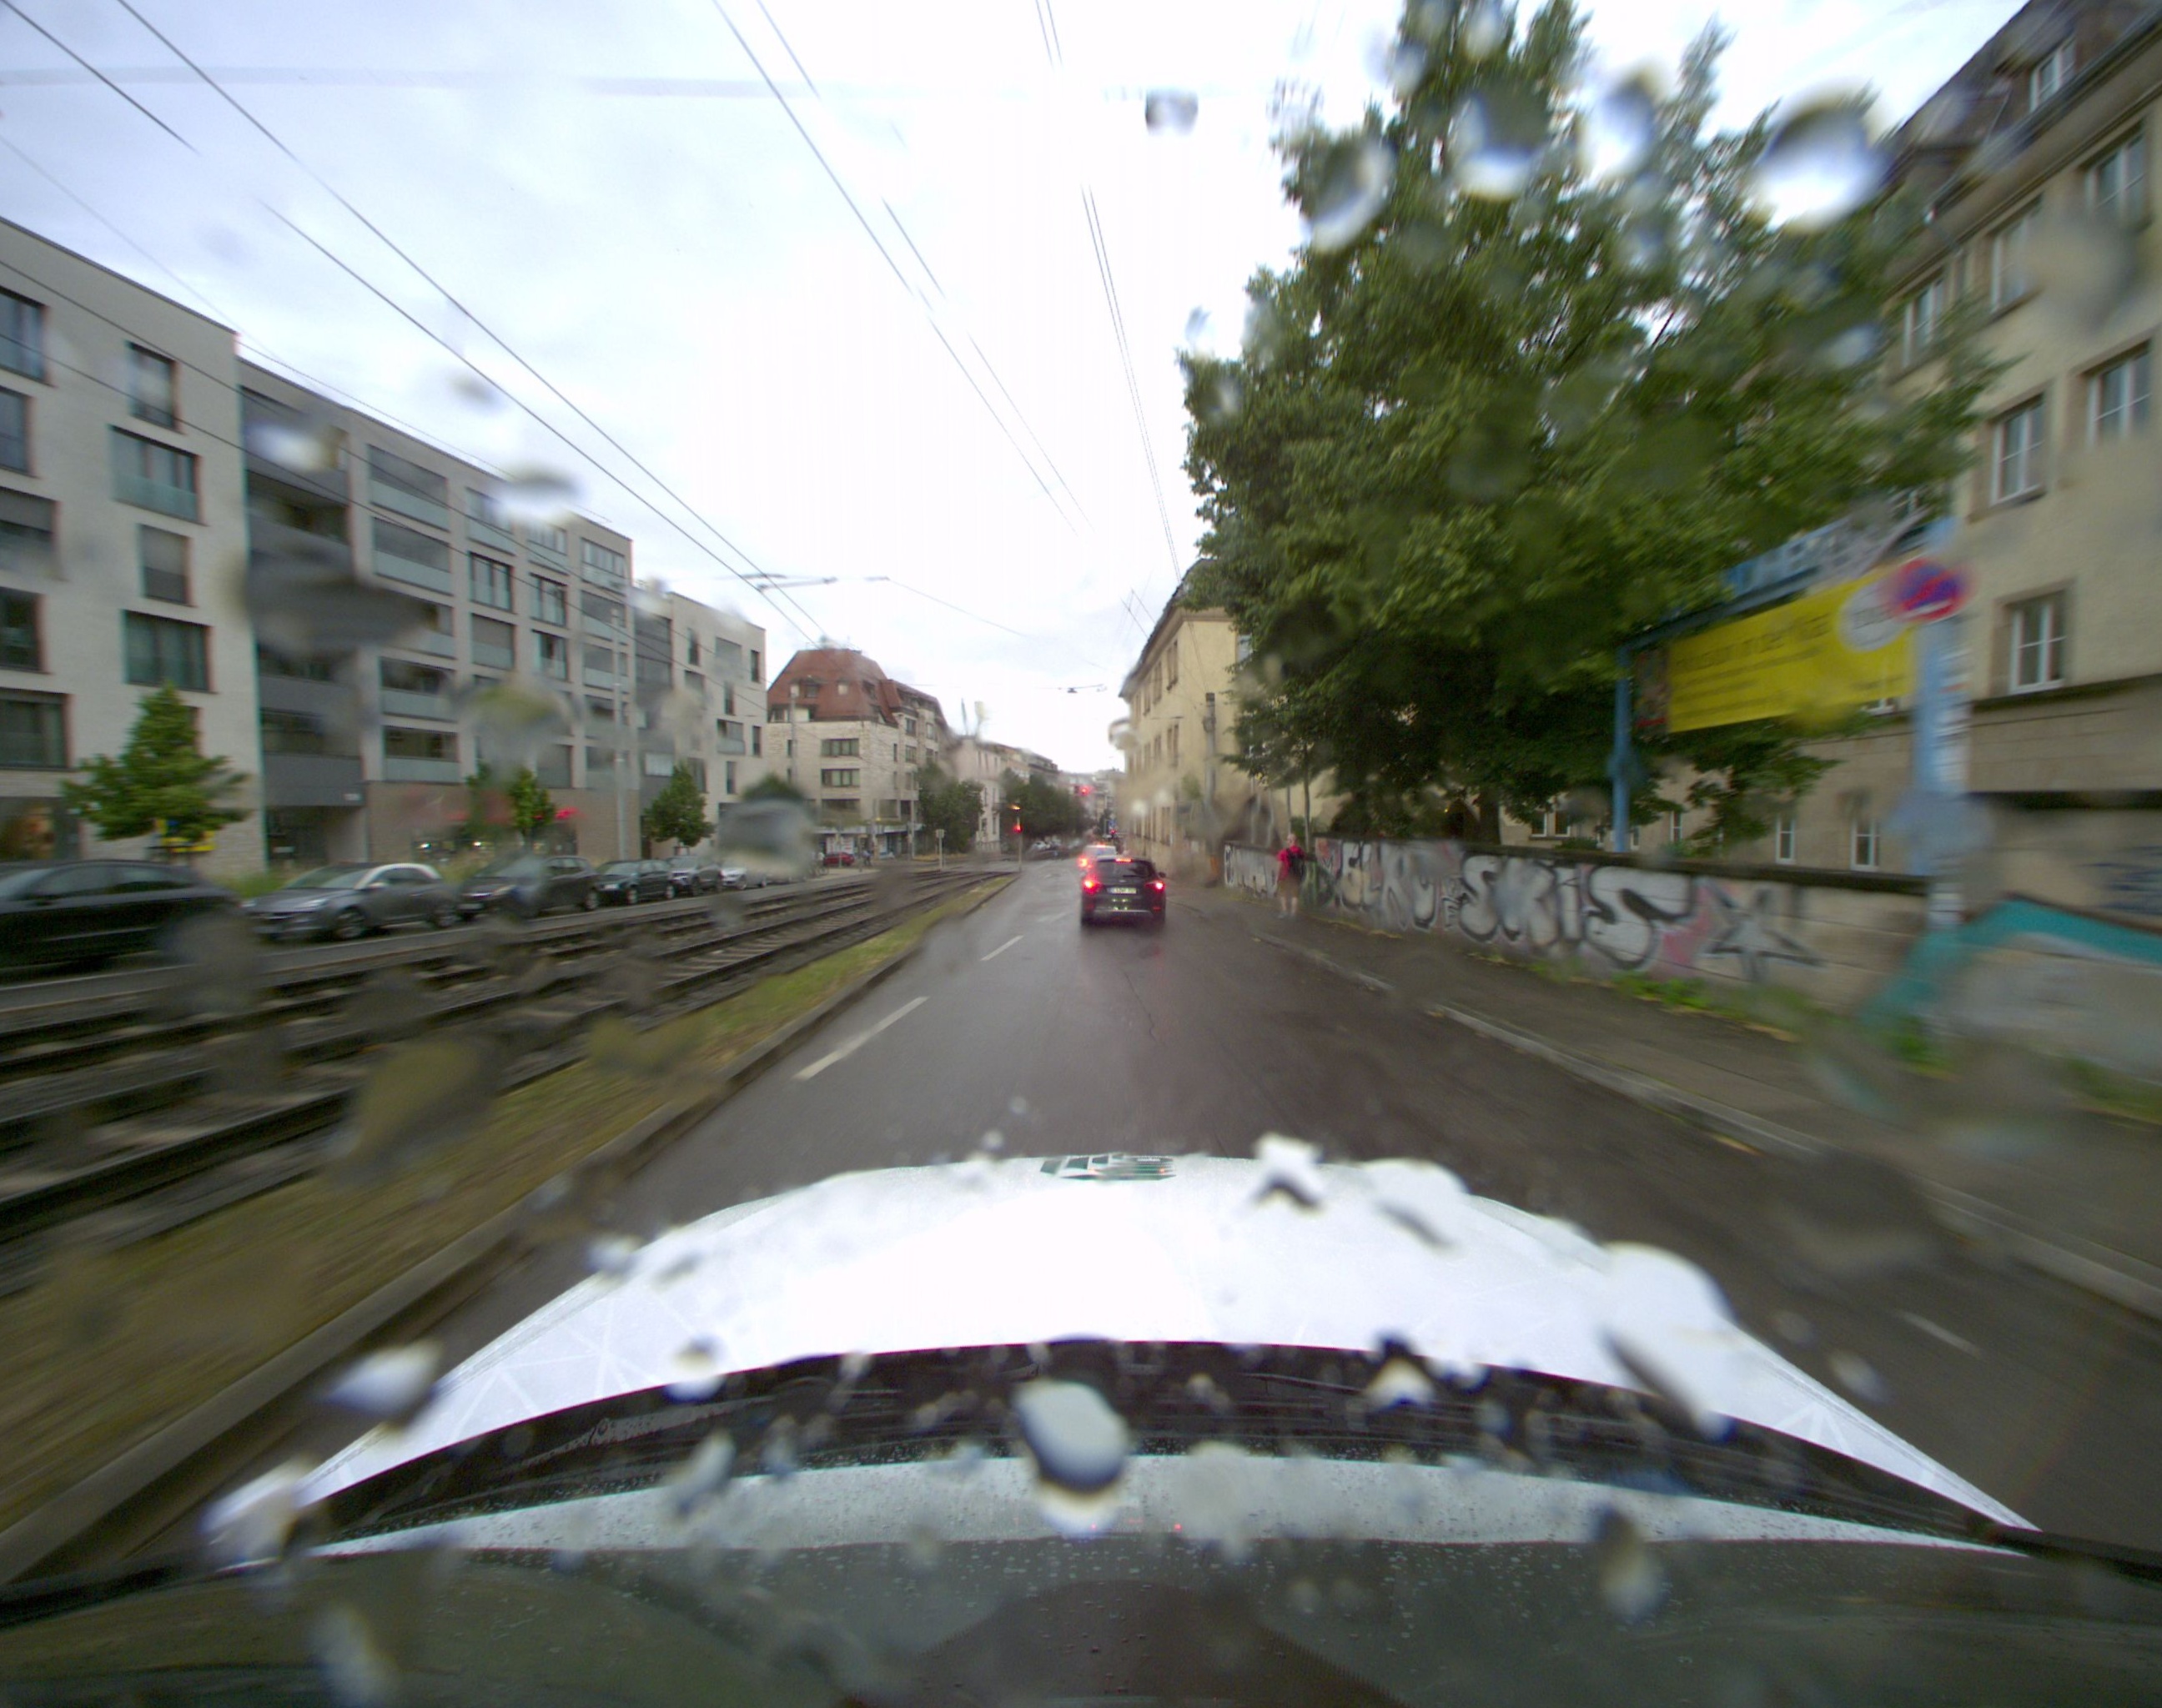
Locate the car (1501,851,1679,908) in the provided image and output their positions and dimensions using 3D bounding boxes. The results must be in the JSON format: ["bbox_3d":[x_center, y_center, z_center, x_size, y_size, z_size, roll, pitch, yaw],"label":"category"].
[{"bbox_3d":[15.884,0.791,25.618,4.427,1.588,1.799,-1,2,6],"label":"car"}]

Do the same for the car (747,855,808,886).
[{"bbox_3d":[-15.906,0.829,42.916,1.908,1.504,4.230,-1,0,-5],"label":"car"}]

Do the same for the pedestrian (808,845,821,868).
[{"bbox_3d":[-23.387,0.242,71.506,0.940,2.013,0.763,0,0,-6],"label":"pedestrian"}]

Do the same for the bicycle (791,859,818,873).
[{"bbox_3d":[-18.323,0.791,53.977,1.651,0.866,0.567,1,0,-12],"label":"bicycle"}]

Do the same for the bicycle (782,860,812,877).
[{"bbox_3d":[-18.554,0.943,53.210,1.799,1.064,0.566,1,0,-14],"label":"bicycle"}]

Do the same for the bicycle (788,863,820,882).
[{"bbox_3d":[-16.759,1.112,49.324,1.800,1.064,0.455,-1,1,-16],"label":"bicycle"}]

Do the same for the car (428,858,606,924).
[{"bbox_3d":[-14.663,0.879,21.525,1.714,1.513,4.317,-1,0,-1],"label":"car"}]

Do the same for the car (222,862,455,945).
[{"bbox_3d":[-14.738,0.907,16.446,1.544,1.435,3.450,-1,0,-1],"label":"car"}]

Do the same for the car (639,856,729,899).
[{"bbox_3d":[-15.233,0.841,31.482,1.769,1.504,3.915,-1,0,-5],"label":"car"}]

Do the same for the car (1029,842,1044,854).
[{"bbox_3d":[-7.573,-1.006,138.570,1.985,2.013,4.004,0,0,3],"label":"car"}]

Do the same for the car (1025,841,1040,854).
[{"bbox_3d":[-7.849,-1.013,132.265,1.985,2.013,4.004,0,0,3],"label":"car"}]

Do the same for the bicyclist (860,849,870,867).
[{"bbox_3d":[-18.503,0.350,69.711,0.705,1.574,0.457,0,0,-37],"label":"bicyclist"}]

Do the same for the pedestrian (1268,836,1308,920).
[{"bbox_3d":[4.370,0.491,17.214,0.630,1.721,0.711,-1,0,-1],"label":"pedestrian"}]

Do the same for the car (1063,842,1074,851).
[{"bbox_3d":[-2.624,-1.562,168.907,1.985,1.662,4.004,0,0,3],"label":"car"}]

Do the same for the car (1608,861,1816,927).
[{"bbox_3d":[15.901,0.984,20.670,3.917,1.497,1.632,0,3,3],"label":"car"}]

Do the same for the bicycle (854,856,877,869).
[{"bbox_3d":[-18.436,0.753,69.765,1.811,1.064,0.452,-2,1,-37],"label":"bicycle"}]

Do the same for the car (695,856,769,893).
[{"bbox_3d":[-15.388,0.846,36.141,1.769,1.504,4.077,-1,0,-5],"label":"car"}]

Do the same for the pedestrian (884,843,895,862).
[{"bbox_3d":[-19.953,-0.159,84.847,0.903,1.931,0.824,0,0,-5],"label":"pedestrian"}]

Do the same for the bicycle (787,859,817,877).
[{"bbox_3d":[-17.834,0.907,52.080,1.803,1.108,0.452,1,0,-22],"label":"bicycle"}]

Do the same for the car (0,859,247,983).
[{"bbox_3d":[-14.694,0.881,11.277,1.760,1.561,4.404,-1,0,-1],"label":"car"}]

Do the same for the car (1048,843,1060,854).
[{"bbox_3d":[-5.112,-1.048,155.831,1.985,2.013,4.004,0,0,3],"label":"car"}]

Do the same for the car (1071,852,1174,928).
[{"bbox_3d":[0.792,0.714,18.013,1.915,1.479,3.997,1,0,-2],"label":"car"}]

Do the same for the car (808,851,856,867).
[{"bbox_3d":[-24.749,0.459,80.987,4.111,1.568,1.827,0,0,7],"label":"car"}]

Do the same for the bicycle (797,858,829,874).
[{"bbox_3d":[-18.157,0.816,55.171,1.950,1.028,0.718,1,0,-11],"label":"bicycle"}]

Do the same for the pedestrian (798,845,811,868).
[{"bbox_3d":[-24.515,0.246,72.184,0.940,2.013,0.763,0,0,-6],"label":"pedestrian"}]

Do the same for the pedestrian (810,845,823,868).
[{"bbox_3d":[-23.755,0.220,73.111,0.940,2.013,0.763,0,0,-6],"label":"pedestrian"}]

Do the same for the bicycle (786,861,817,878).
[{"bbox_3d":[-17.572,0.985,51.247,1.800,1.064,0.455,1,0,-16],"label":"bicycle"}]

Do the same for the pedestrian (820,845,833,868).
[{"bbox_3d":[-22.348,0.222,71.585,0.939,2.013,0.764,0,0,-2],"label":"pedestrian"}]

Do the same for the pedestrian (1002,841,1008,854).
[{"bbox_3d":[-12.101,-1.071,129.487,0.942,2.013,0.762,0,0,-11],"label":"pedestrian"}]

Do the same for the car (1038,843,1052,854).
[{"bbox_3d":[-6.346,-1.008,144.911,1.985,2.013,4.004,0,0,3],"label":"car"}]

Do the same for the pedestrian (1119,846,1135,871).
[{"bbox_3d":[3.226,0.313,57.320,1.043,1.795,0.901,0,0,-4],"label":"pedestrian"}]

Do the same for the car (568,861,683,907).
[{"bbox_3d":[-14.861,0.927,26.834,1.544,1.362,4.008,0,0,-1],"label":"car"}]

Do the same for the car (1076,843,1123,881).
[{"bbox_3d":[0.985,0.364,41.094,2.127,1.745,4.223,-1,1,4],"label":"car"}]
